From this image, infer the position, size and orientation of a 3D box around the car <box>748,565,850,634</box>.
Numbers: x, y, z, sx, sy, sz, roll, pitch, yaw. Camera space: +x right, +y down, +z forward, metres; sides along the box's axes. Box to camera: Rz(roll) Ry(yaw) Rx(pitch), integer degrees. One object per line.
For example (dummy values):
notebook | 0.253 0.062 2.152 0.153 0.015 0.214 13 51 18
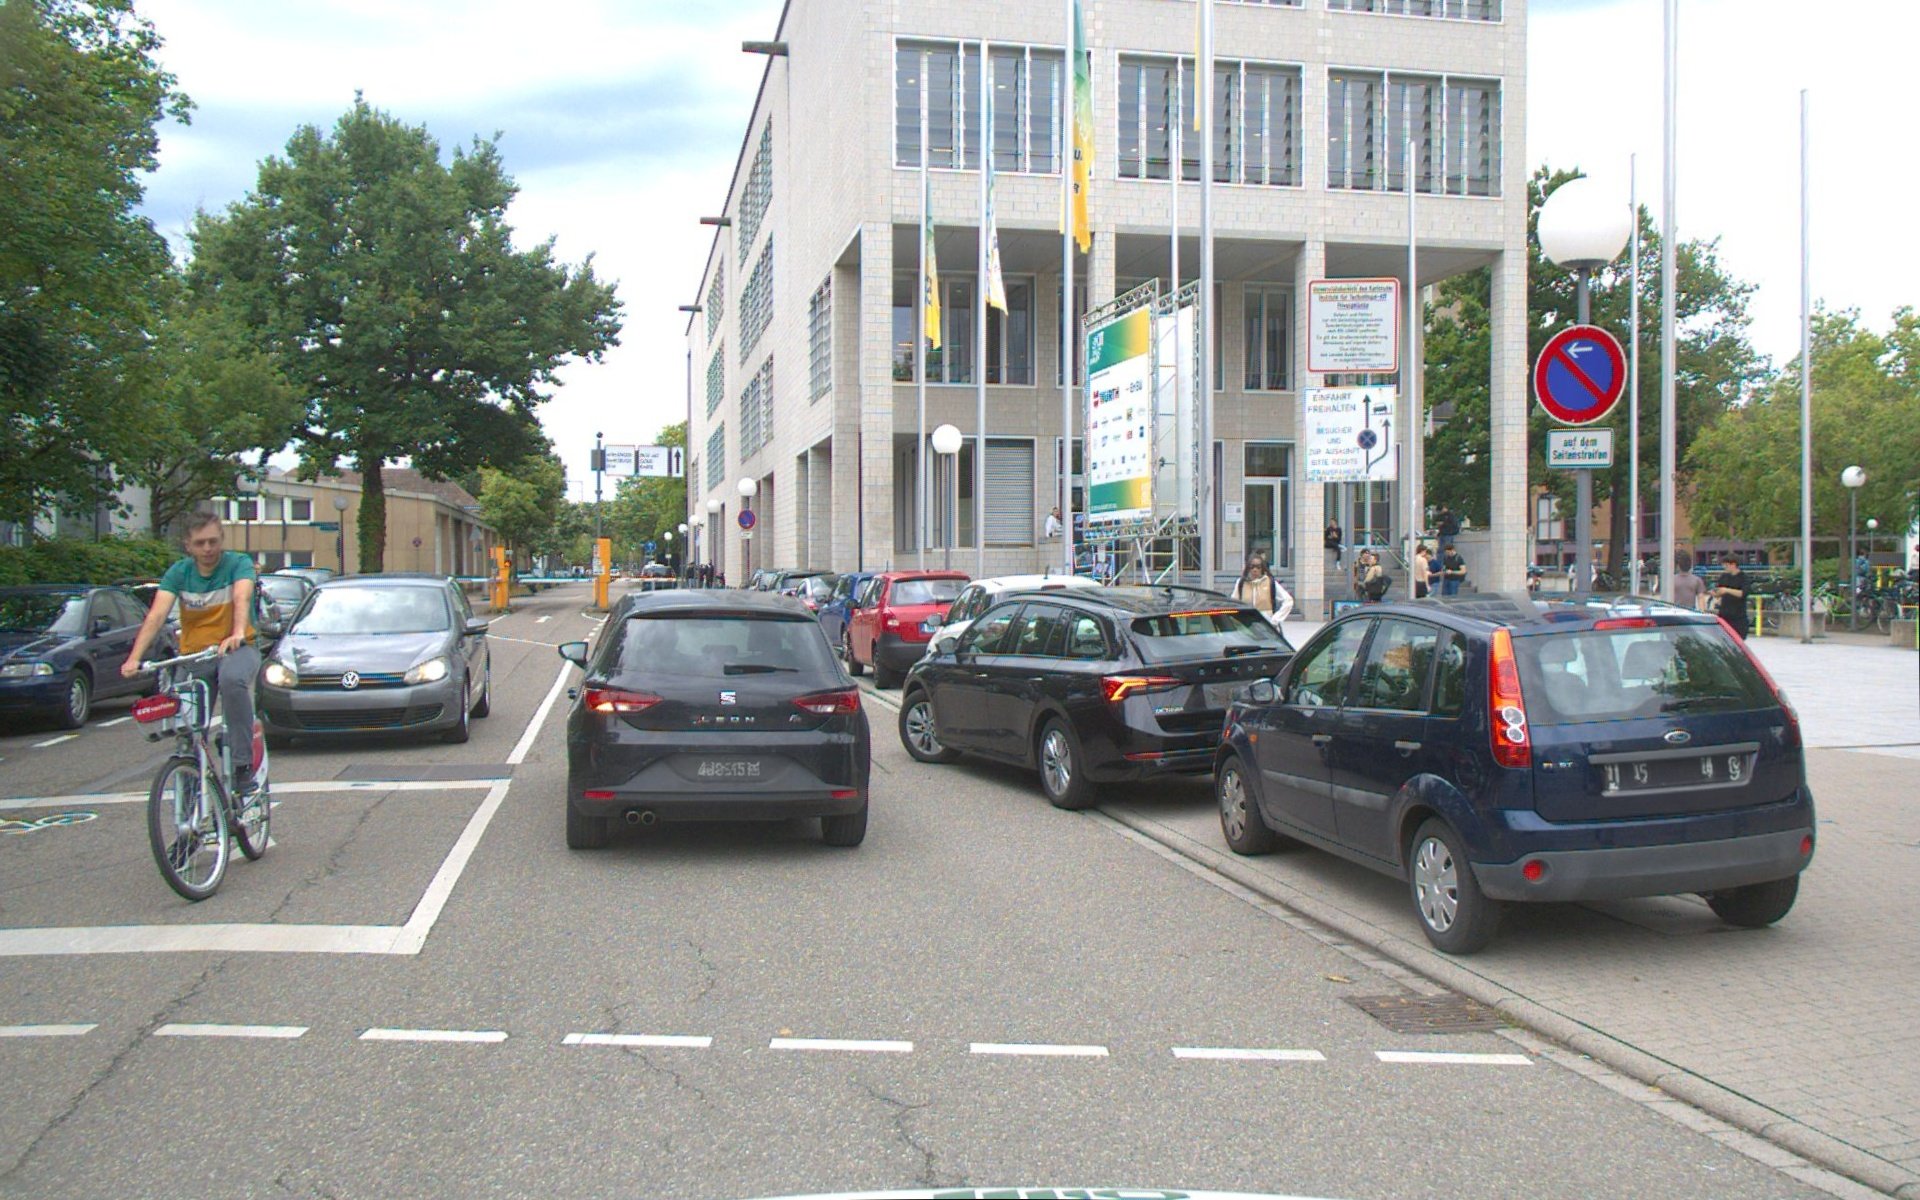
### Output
car | -3.829 -0.051 38.820 1.786 1.468 4.506 -2 1 -13

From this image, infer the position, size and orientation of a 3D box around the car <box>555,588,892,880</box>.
car | -1.676 0.684 10.731 1.751 1.444 4.116 1 1 -13

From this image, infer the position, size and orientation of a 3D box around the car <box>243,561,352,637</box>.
car | -14.936 -0.061 37.475 1.686 1.613 3.865 1 2 -13

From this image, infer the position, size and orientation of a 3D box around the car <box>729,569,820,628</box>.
car | -5.051 -0.072 44.510 1.958 1.477 4.908 0 1 -12

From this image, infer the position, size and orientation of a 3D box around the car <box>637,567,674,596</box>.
car | -17.942 -1.059 97.359 1.959 1.651 4.413 -1 1 -13

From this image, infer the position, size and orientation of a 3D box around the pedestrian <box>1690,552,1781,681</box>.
pedestrian | 10.899 0.211 23.252 0.686 1.742 0.898 -2 4 -36

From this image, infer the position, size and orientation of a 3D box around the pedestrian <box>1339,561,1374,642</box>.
pedestrian | 9.259 0.043 38.590 0.580 1.873 0.618 0 0 -11

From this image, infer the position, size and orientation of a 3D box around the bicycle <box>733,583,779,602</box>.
bicycle | -8.657 -0.317 70.192 1.866 0.711 0.491 1 3 -16

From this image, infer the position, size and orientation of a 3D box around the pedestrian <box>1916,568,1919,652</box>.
pedestrian | 16.867 0.165 28.269 0.668 1.438 0.757 0 0 -44

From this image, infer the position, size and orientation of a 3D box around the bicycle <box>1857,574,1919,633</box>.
bicycle | 20.854 0.097 35.800 0.732 1.190 3.101 1 3 -10

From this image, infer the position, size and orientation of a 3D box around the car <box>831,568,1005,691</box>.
car | -0.697 0.337 23.451 1.682 1.498 4.261 -2 2 -12

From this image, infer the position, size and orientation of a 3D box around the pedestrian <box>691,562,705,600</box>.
pedestrian | -12.078 -0.891 76.237 0.599 1.744 0.574 -1 1 -6

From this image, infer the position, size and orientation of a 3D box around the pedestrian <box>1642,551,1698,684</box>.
pedestrian | 10.110 0.236 23.550 0.629 1.839 0.647 3 3 27

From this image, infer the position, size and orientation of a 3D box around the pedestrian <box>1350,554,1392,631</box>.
pedestrian | 9.364 -0.180 37.701 0.763 1.745 0.602 0 0 -11

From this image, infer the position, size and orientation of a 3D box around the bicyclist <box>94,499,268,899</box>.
bicyclist | -3.767 0.441 8.064 0.647 1.810 0.978 0 1 -19

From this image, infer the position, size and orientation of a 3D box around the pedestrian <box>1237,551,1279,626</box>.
pedestrian | 6.852 -0.267 38.067 0.742 1.699 0.703 0 0 -11

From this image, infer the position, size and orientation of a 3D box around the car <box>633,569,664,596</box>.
car | -21.475 -1.219 113.919 1.959 1.813 4.414 -2 1 -12

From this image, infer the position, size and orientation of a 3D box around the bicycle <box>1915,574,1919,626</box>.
bicycle | 22.364 0.093 36.121 0.732 1.190 3.101 1 3 -10

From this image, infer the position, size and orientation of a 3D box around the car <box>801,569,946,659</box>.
car | -1.602 0.195 29.033 1.667 1.436 4.359 -1 1 -15

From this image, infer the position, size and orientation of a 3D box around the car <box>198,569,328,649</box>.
car | -13.665 0.129 32.632 1.733 1.436 3.995 0 1 -14

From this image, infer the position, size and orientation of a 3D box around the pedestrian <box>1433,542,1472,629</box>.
pedestrian | 10.893 -0.317 36.587 0.591 1.897 0.776 0 0 36

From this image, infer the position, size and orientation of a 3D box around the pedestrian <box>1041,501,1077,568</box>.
pedestrian | 2.541 -1.679 42.340 0.787 1.687 0.632 2 3 12

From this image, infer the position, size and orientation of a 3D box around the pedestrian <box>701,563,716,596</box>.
pedestrian | -13.589 -1.113 89.456 0.716 1.728 0.585 1 3 -18

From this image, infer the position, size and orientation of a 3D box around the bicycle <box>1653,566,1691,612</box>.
bicycle | 18.102 -0.295 42.083 0.855 1.112 1.801 1 1 22

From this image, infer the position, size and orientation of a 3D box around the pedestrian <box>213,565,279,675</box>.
pedestrian | -11.348 0.297 26.314 0.725 1.690 0.966 -1 2 -10

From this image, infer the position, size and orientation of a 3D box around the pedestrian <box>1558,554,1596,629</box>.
pedestrian | 14.199 -0.205 38.046 0.720 1.669 0.931 3 3 22

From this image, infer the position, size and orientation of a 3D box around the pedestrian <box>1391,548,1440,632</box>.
pedestrian | 10.001 -0.226 36.304 0.752 1.816 0.731 0 0 -26

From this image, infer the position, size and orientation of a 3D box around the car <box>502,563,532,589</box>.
car | -28.677 -1.540 107.203 1.740 1.629 3.987 0 1 -13

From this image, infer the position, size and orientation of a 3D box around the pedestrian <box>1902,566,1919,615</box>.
pedestrian | 32.669 -0.335 56.440 0.649 1.669 0.663 0 0 -15

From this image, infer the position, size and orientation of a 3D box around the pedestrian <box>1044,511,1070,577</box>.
pedestrian | 2.539 -1.476 43.277 0.616 1.687 0.807 2 3 4

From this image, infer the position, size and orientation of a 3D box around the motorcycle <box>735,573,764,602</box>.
motorcycle | -9.326 -0.563 73.285 0.553 1.168 2.219 2 3 12

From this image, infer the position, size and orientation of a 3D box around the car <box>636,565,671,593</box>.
car | -18.877 -1.290 101.775 1.959 1.651 4.415 -2 1 -12

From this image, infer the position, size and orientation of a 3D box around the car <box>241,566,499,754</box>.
car | -5.401 0.455 15.641 1.752 1.523 4.155 0 1 -12

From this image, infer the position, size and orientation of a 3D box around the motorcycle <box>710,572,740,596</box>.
motorcycle | -12.695 -0.897 89.477 0.743 1.168 2.666 2 3 12

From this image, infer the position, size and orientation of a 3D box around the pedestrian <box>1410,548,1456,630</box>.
pedestrian | 10.697 -0.249 37.425 0.710 1.816 0.731 0 0 -26

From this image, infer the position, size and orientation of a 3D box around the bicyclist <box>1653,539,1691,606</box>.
bicyclist | 18.098 -0.699 42.070 0.855 1.669 0.868 1 1 23

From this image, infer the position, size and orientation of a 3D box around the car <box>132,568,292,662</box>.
car | -12.784 0.209 28.493 1.731 1.497 3.813 0 1 -12

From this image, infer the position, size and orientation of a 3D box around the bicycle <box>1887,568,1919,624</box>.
bicycle | 21.617 -0.035 35.941 0.732 1.190 3.101 1 3 -10

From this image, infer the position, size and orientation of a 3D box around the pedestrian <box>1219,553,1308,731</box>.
pedestrian | 3.176 0.428 17.373 0.775 1.818 0.821 0 0 0

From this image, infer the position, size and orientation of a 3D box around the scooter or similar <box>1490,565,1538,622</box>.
scooter or similar | 13.849 -0.177 41.323 1.478 1.393 0.399 -1 3 -40

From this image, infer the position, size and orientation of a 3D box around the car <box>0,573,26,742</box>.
car | -9.117 0.537 12.999 1.765 1.495 4.238 0 1 -10

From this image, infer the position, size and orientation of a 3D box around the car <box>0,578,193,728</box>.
car | -9.949 0.484 17.946 1.764 1.432 4.328 0 1 -8

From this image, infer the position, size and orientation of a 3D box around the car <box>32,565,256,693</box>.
car | -11.396 0.315 23.437 1.766 1.588 4.517 0 2 -12

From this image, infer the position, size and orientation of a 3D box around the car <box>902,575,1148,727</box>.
car | 0.595 0.476 18.280 1.828 1.478 3.847 0 1 -12

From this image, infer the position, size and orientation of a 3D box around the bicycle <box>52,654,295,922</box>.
bicycle | -3.762 0.836 8.063 0.645 1.056 1.852 0 1 -12

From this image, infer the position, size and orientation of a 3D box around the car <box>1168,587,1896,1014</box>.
car | 2.476 0.729 8.327 1.593 1.528 4.094 -2 1 -11

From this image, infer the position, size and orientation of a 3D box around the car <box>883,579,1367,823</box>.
car | 1.028 0.601 12.751 1.835 1.426 4.448 -2 2 -22

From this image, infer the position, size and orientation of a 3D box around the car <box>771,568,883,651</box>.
car | -2.803 0.144 34.056 1.815 1.467 4.408 0 2 -11

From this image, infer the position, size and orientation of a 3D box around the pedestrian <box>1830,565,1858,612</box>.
pedestrian | 31.753 -0.422 59.398 0.647 1.669 0.666 0 0 1
